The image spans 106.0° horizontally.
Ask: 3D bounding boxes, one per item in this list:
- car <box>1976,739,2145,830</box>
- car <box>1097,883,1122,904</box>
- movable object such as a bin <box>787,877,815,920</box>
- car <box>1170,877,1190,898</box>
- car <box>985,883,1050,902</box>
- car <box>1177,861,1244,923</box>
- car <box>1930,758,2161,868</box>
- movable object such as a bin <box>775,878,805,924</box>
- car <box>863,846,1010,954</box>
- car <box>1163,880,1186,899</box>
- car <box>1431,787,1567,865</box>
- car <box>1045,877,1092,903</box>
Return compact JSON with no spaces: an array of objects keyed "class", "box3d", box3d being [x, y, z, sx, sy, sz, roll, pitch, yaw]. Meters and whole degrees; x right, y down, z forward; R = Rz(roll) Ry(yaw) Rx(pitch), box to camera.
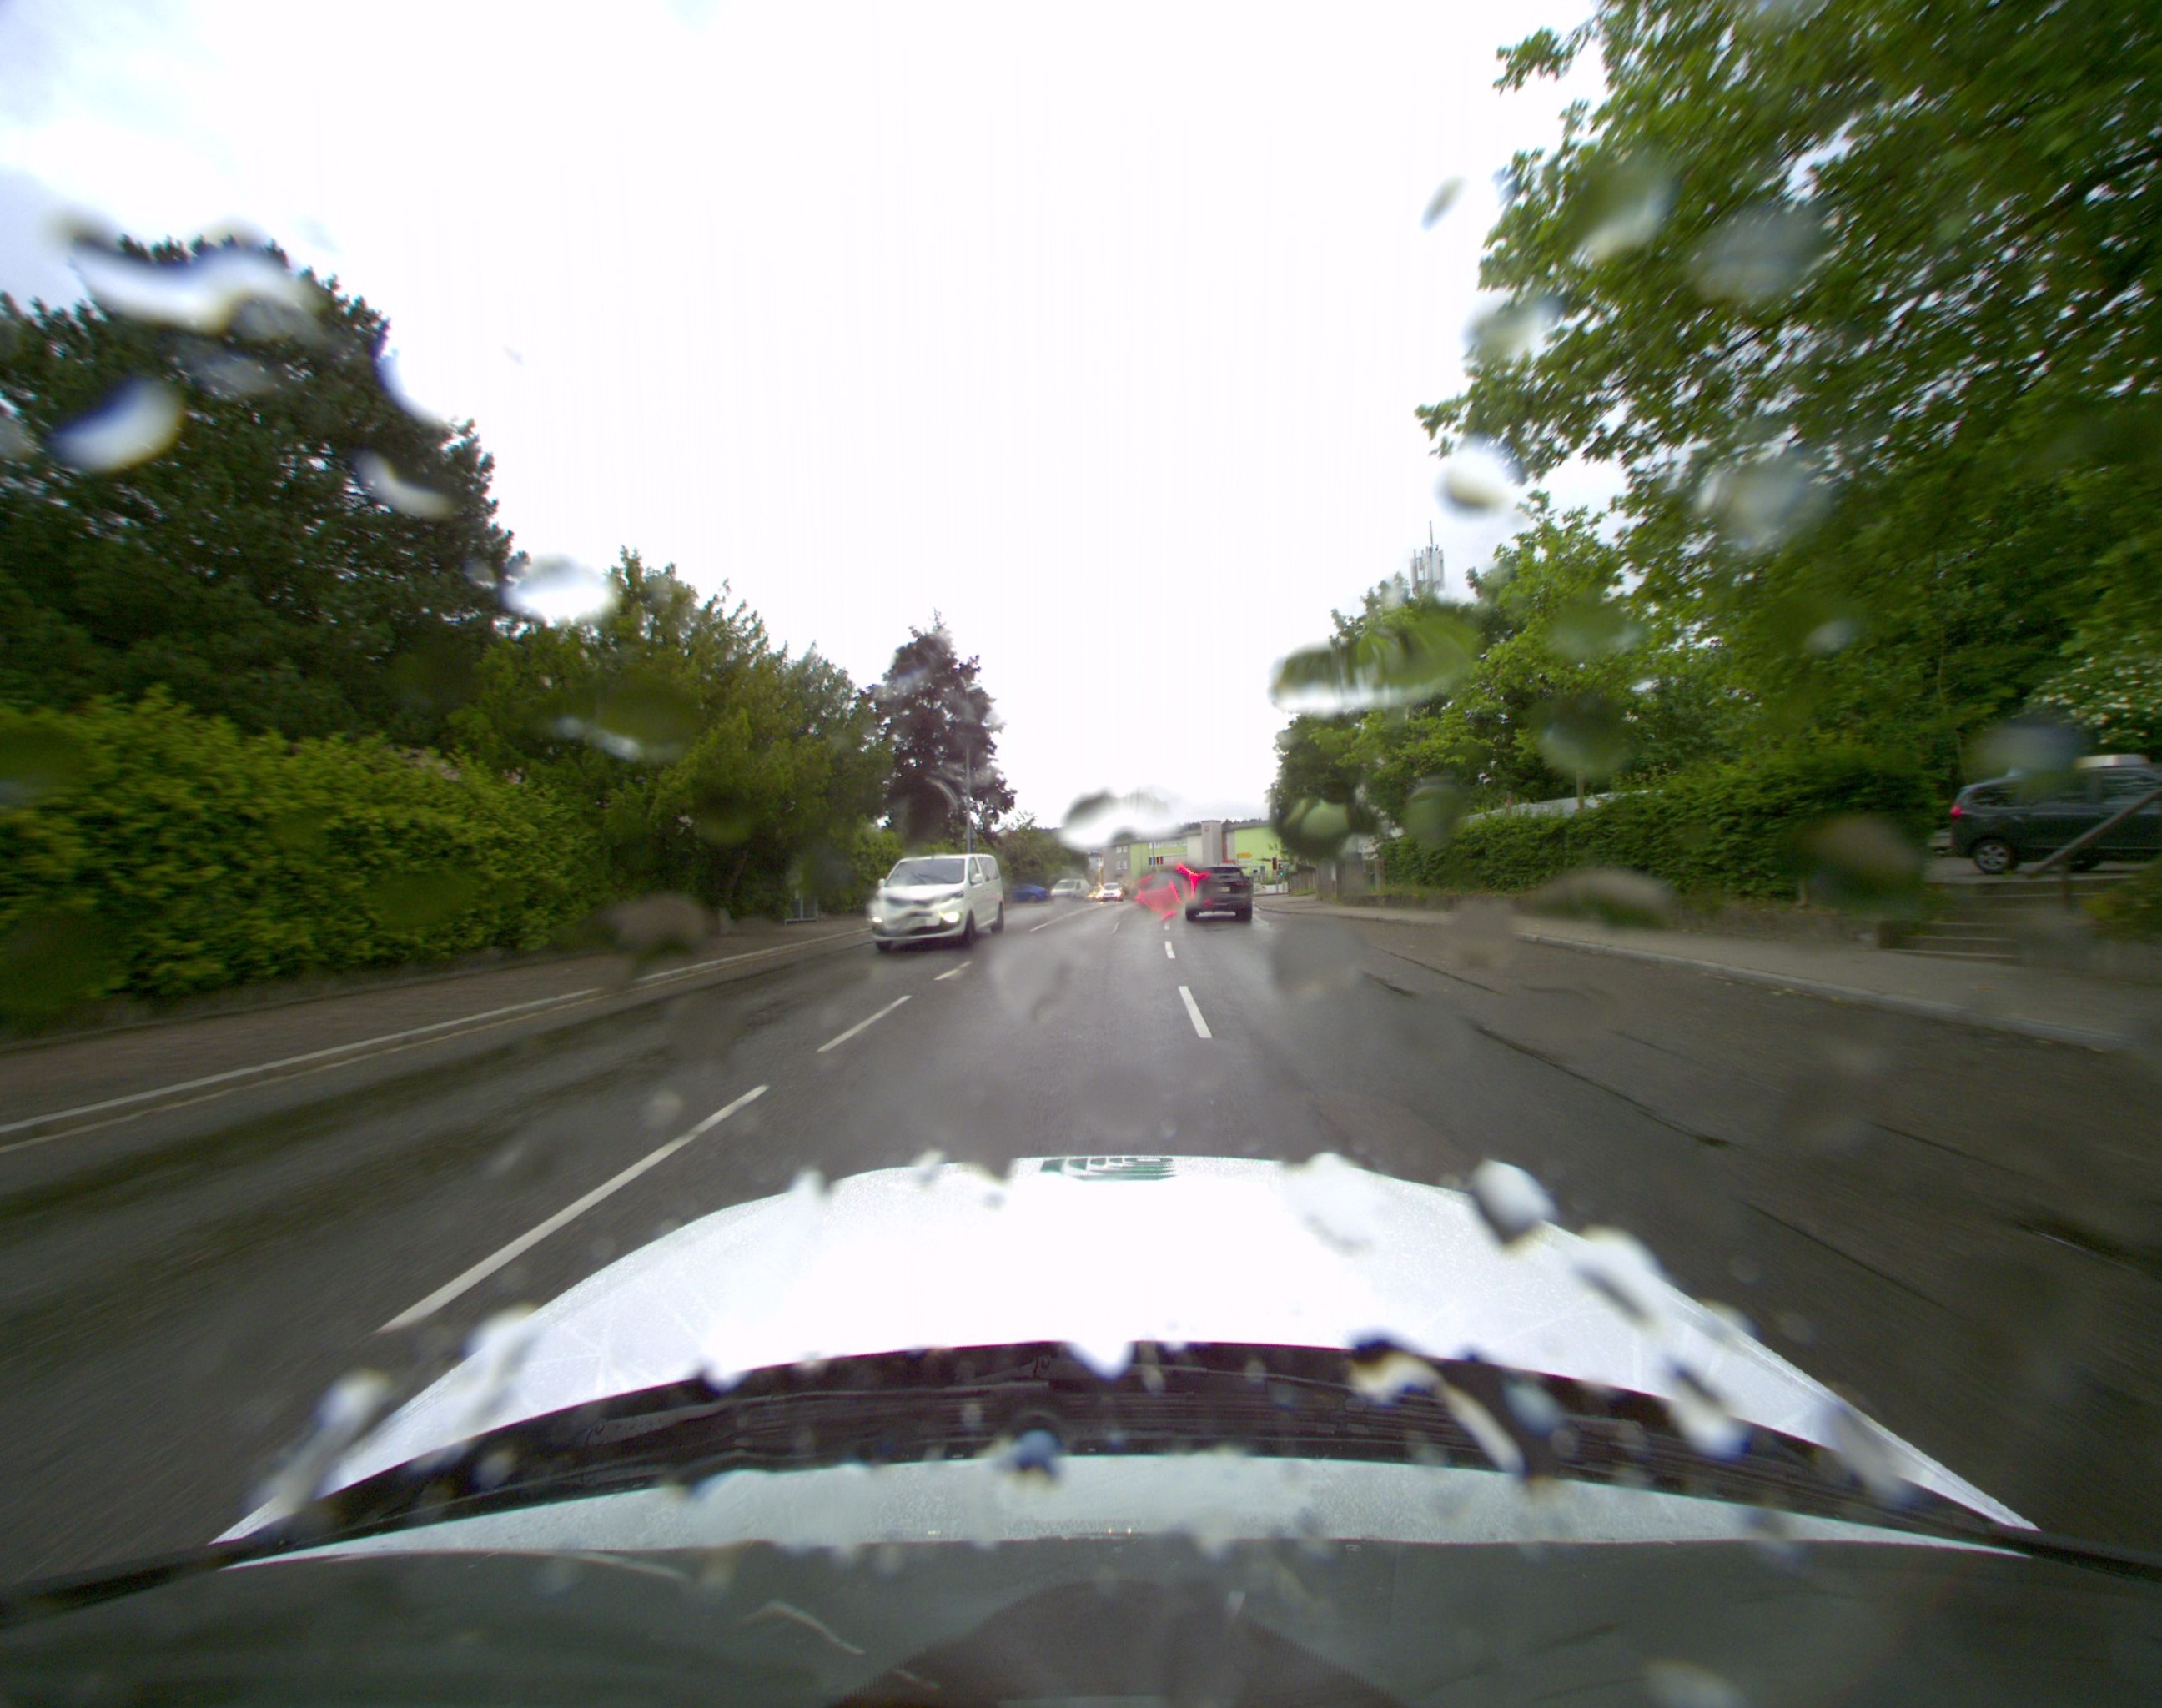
[{"class":"car","box3d":[25.386,-1.676,21.067,5.220,2.013,1.980,0,1,-31]},{"class":"car","box3d":[2.404,3.241,67.512,1.626,1.580,4.064,-5,-3,7]},{"class":"movable object such as a bin","box3d":[-8.789,1.390,25.580,0.545,1.326,0.807,-1,-1,4]},{"class":"car","box3d":[9.256,3.090,75.880,1.707,1.845,4.095,-1,-1,8]},{"class":"car","box3d":[-4.602,2.790,59.473,4.464,1.362,1.806,0,-1,2]},{"class":"car","box3d":[3.829,1.037,24.117,1.779,1.603,4.264,-1,0,9]},{"class":"car","box3d":[16.354,-0.598,12.682,1.816,1.583,4.167,1,1,-3]},{"class":"movable object such as a bin","box3d":[-8.673,1.400,24.278,0.545,1.326,0.807,-1,-1,4]},{"class":"car","box3d":[-2.954,0.890,17.869,1.855,1.916,5.035,-4,-1,4]},{"class":"car","box3d":[7.729,2.927,67.576,1.675,1.506,3.776,-1,-3,3]},{"class":"car","box3d":[12.875,-0.847,25.395,1.989,2.226,4.129,-1,1,-3]},{"class":"car","box3d":[-0.807,2.494,56.260,1.685,1.708,4.000,0,-2,23]}]
